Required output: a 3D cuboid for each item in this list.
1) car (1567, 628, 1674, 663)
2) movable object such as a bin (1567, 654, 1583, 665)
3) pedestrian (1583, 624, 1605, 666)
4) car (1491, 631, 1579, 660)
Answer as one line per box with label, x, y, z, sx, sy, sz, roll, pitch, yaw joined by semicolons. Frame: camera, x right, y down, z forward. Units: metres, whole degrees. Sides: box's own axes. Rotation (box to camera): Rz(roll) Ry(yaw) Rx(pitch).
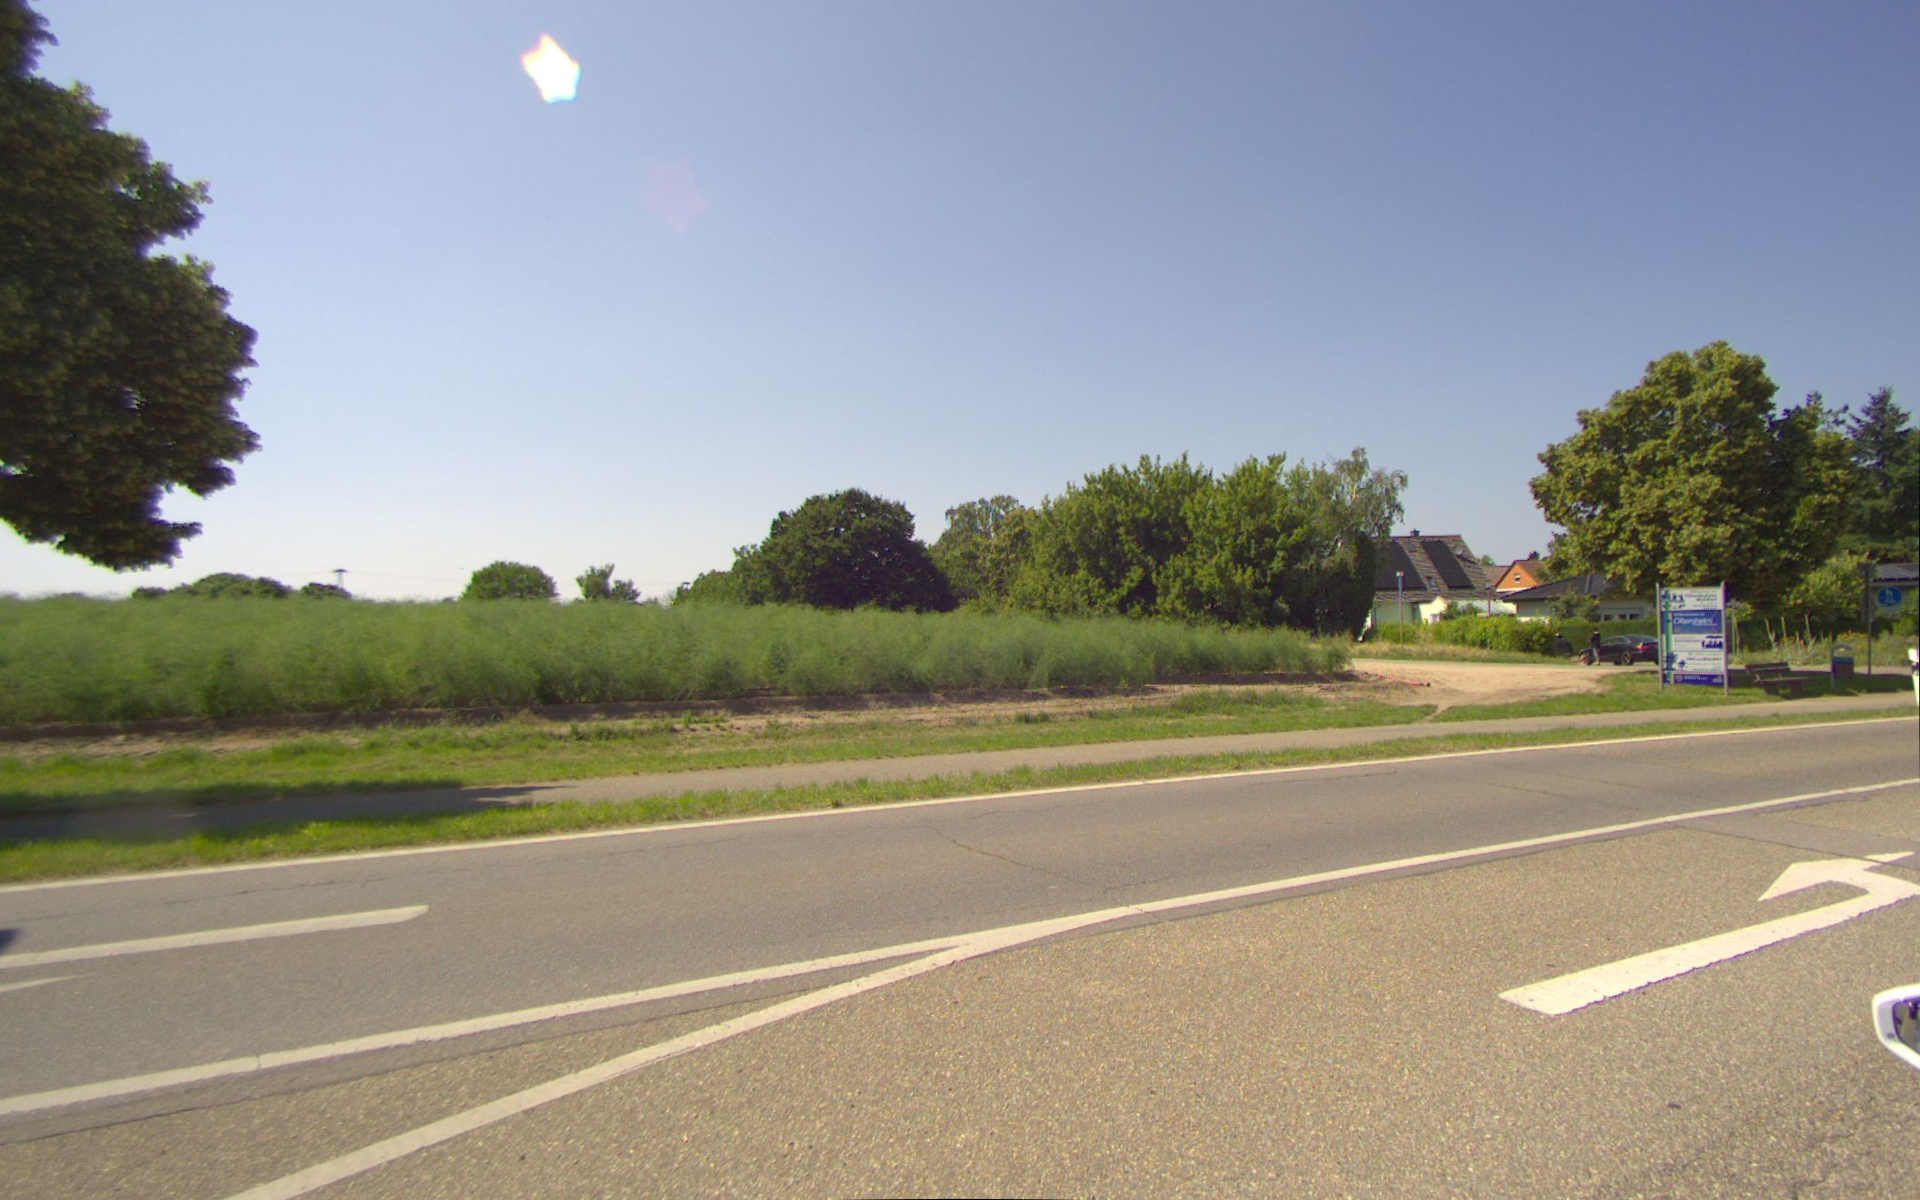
car;30.325;2.089;46.286;1.962;1.539;4.099;-1;-2;-5
movable object such as a bin;26.004;2.503;42.479;0.313;0.416;0.765;0;-1;8
pedestrian;26.800;1.889;42.475;0.539;1.739;0.676;0;-1;4
car;32.944;2.631;57.641;1.856;1.539;3.976;-2;-2;-25
